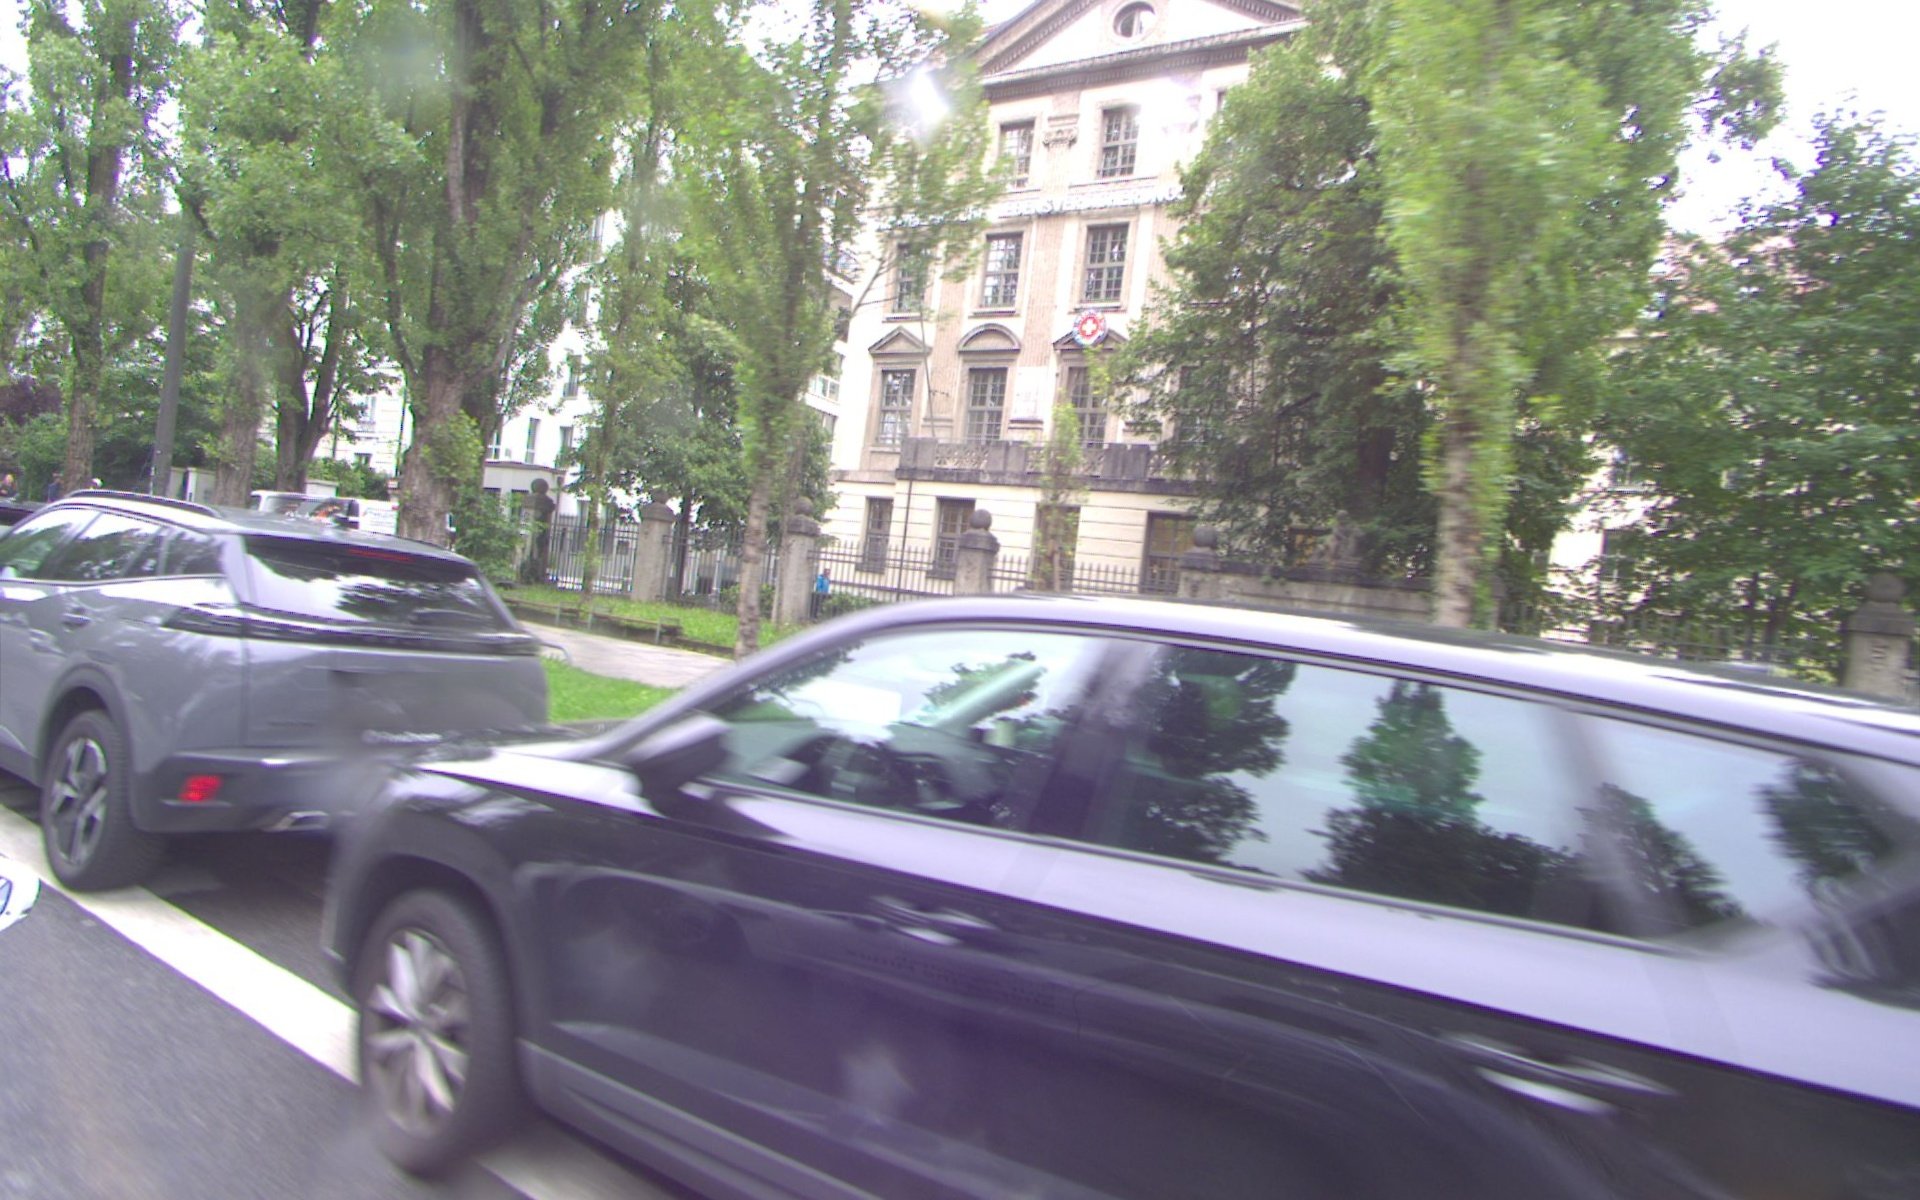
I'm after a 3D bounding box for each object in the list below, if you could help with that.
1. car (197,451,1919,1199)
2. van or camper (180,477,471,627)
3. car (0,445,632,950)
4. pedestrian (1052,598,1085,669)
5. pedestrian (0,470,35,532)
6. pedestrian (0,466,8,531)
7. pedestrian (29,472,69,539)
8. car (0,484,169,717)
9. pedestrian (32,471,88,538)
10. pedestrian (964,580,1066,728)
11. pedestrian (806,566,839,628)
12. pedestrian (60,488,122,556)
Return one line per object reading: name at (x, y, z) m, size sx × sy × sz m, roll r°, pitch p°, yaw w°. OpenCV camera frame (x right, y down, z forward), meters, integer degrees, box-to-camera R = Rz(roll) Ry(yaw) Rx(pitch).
car at (0.260, 0.719, 2.551) m, size 4.341 × 1.669 × 1.788 m, roll 7°, pitch 0°, yaw 29°
van or camper at (-11.293, -0.884, 17.802) m, size 5.279 × 1.956 × 2.080 m, roll 7°, pitch -1°, yaw 31°
car at (-4.075, 0.172, 5.292) m, size 4.560 × 1.638 × 1.786 m, roll 7°, pitch 0°, yaw 31°
pedestrian at (3.034, 0.940, 28.046) m, size 0.495 × 1.886 × 0.637 m, roll 7°, pitch 1°, yaw 29°
pedestrian at (-26.286, -2.750, 27.917) m, size 0.853 × 1.598 × 0.568 m, roll 7°, pitch 1°, yaw 31°
pedestrian at (-26.613, -2.827, 27.299) m, size 0.853 × 1.739 × 0.854 m, roll 7°, pitch 2°, yaw 30°
pedestrian at (-27.028, -2.792, 29.857) m, size 0.626 × 1.886 × 0.488 m, roll 7°, pitch 1°, yaw 14°
car at (-8.167, -0.210, 7.806) m, size 4.223 × 1.538 × 1.705 m, roll 7°, pitch 0°, yaw 31°
pedestrian at (-26.751, -2.832, 29.896) m, size 0.805 × 1.804 × 0.802 m, roll 7°, pitch 1°, yaw 14°
pedestrian at (0.728, 0.704, 13.203) m, size 0.880 × 1.790 × 0.796 m, roll 7°, pitch 1°, yaw 31°
pedestrian at (-4.413, -0.089, 32.337) m, size 0.592 × 1.886 × 0.638 m, roll 7°, pitch 1°, yaw 22°
pedestrian at (-25.780, -2.293, 29.853) m, size 0.814 × 1.823 × 0.904 m, roll 9°, pitch 2°, yaw 10°
